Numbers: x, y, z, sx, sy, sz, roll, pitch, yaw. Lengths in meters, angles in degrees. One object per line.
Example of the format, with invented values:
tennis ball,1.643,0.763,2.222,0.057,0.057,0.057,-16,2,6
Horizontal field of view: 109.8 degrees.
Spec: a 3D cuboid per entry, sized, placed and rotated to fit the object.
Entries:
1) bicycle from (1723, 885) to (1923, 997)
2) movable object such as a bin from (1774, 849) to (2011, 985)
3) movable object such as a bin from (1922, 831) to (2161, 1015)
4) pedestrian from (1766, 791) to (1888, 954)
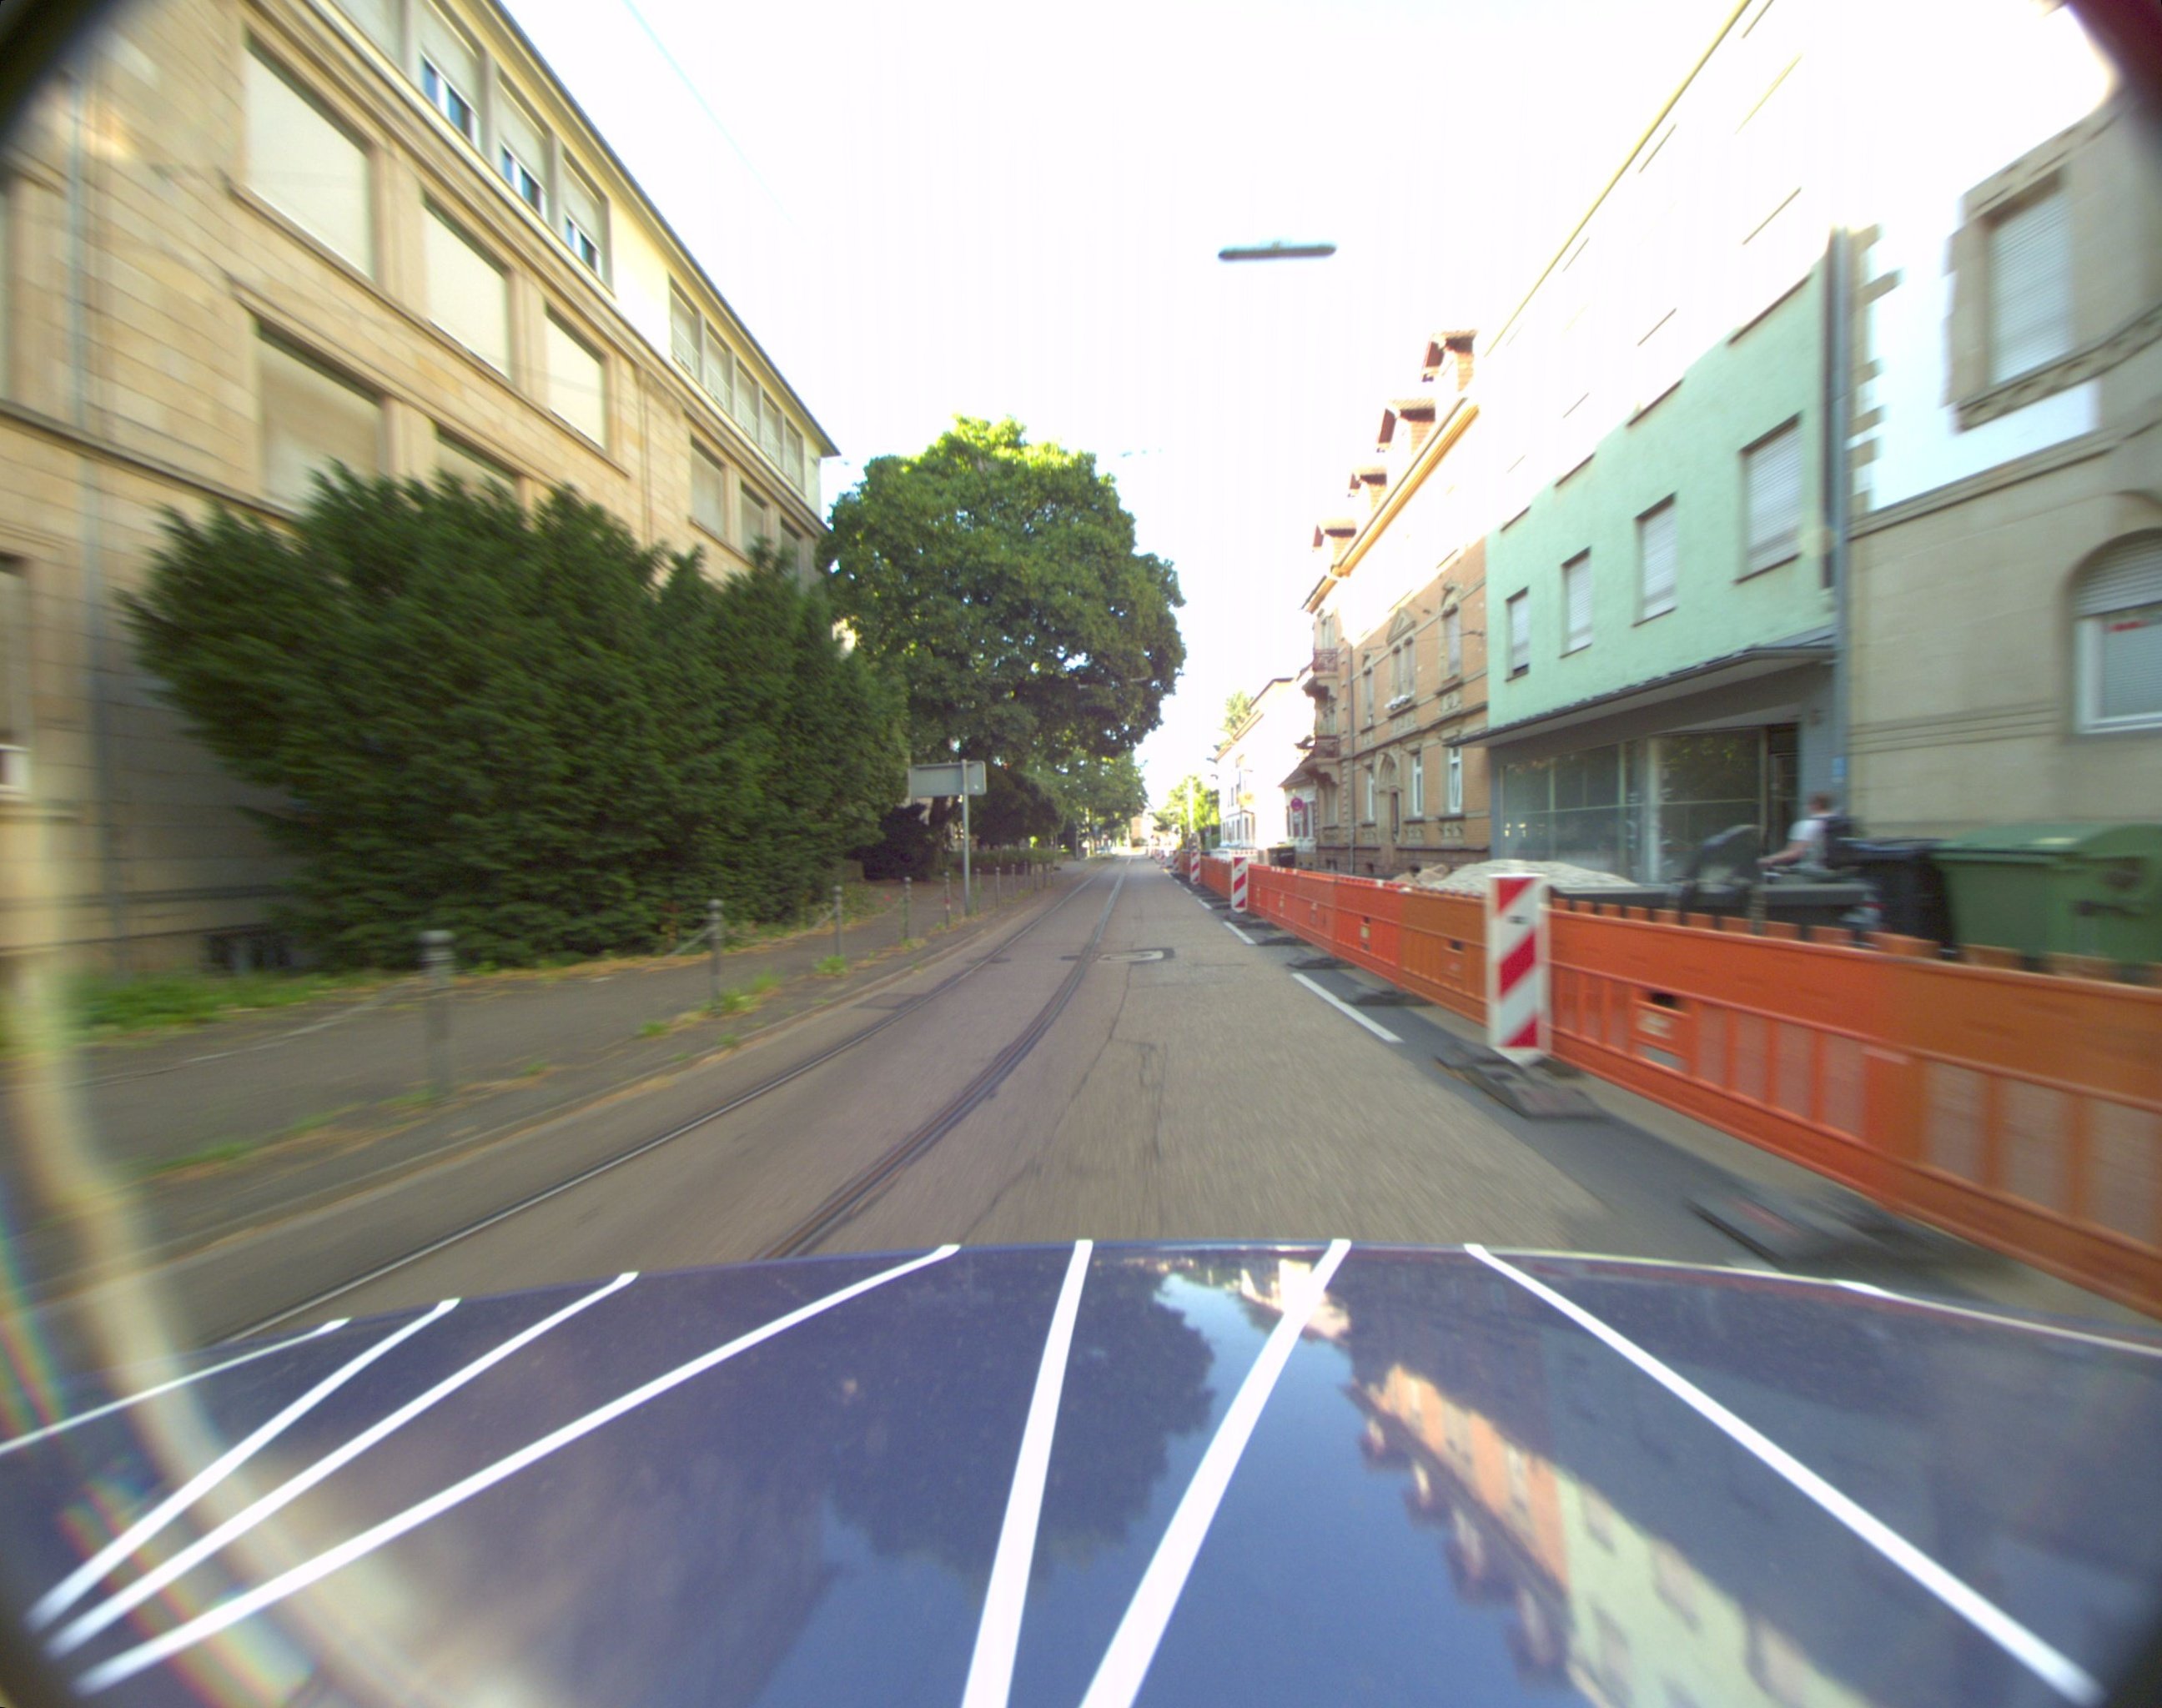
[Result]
bicycle,7.546,0.838,7.824,0.601,0.927,1.473,-3,1,-1
movable object such as a bin,8.607,0.617,8.147,1.085,1.257,1.334,-3,2,-4
movable object such as a bin,8.710,0.541,6.701,1.084,1.423,1.408,-3,2,10
pedestrian,7.509,0.174,7.674,0.599,1.547,0.616,-3,2,-1
